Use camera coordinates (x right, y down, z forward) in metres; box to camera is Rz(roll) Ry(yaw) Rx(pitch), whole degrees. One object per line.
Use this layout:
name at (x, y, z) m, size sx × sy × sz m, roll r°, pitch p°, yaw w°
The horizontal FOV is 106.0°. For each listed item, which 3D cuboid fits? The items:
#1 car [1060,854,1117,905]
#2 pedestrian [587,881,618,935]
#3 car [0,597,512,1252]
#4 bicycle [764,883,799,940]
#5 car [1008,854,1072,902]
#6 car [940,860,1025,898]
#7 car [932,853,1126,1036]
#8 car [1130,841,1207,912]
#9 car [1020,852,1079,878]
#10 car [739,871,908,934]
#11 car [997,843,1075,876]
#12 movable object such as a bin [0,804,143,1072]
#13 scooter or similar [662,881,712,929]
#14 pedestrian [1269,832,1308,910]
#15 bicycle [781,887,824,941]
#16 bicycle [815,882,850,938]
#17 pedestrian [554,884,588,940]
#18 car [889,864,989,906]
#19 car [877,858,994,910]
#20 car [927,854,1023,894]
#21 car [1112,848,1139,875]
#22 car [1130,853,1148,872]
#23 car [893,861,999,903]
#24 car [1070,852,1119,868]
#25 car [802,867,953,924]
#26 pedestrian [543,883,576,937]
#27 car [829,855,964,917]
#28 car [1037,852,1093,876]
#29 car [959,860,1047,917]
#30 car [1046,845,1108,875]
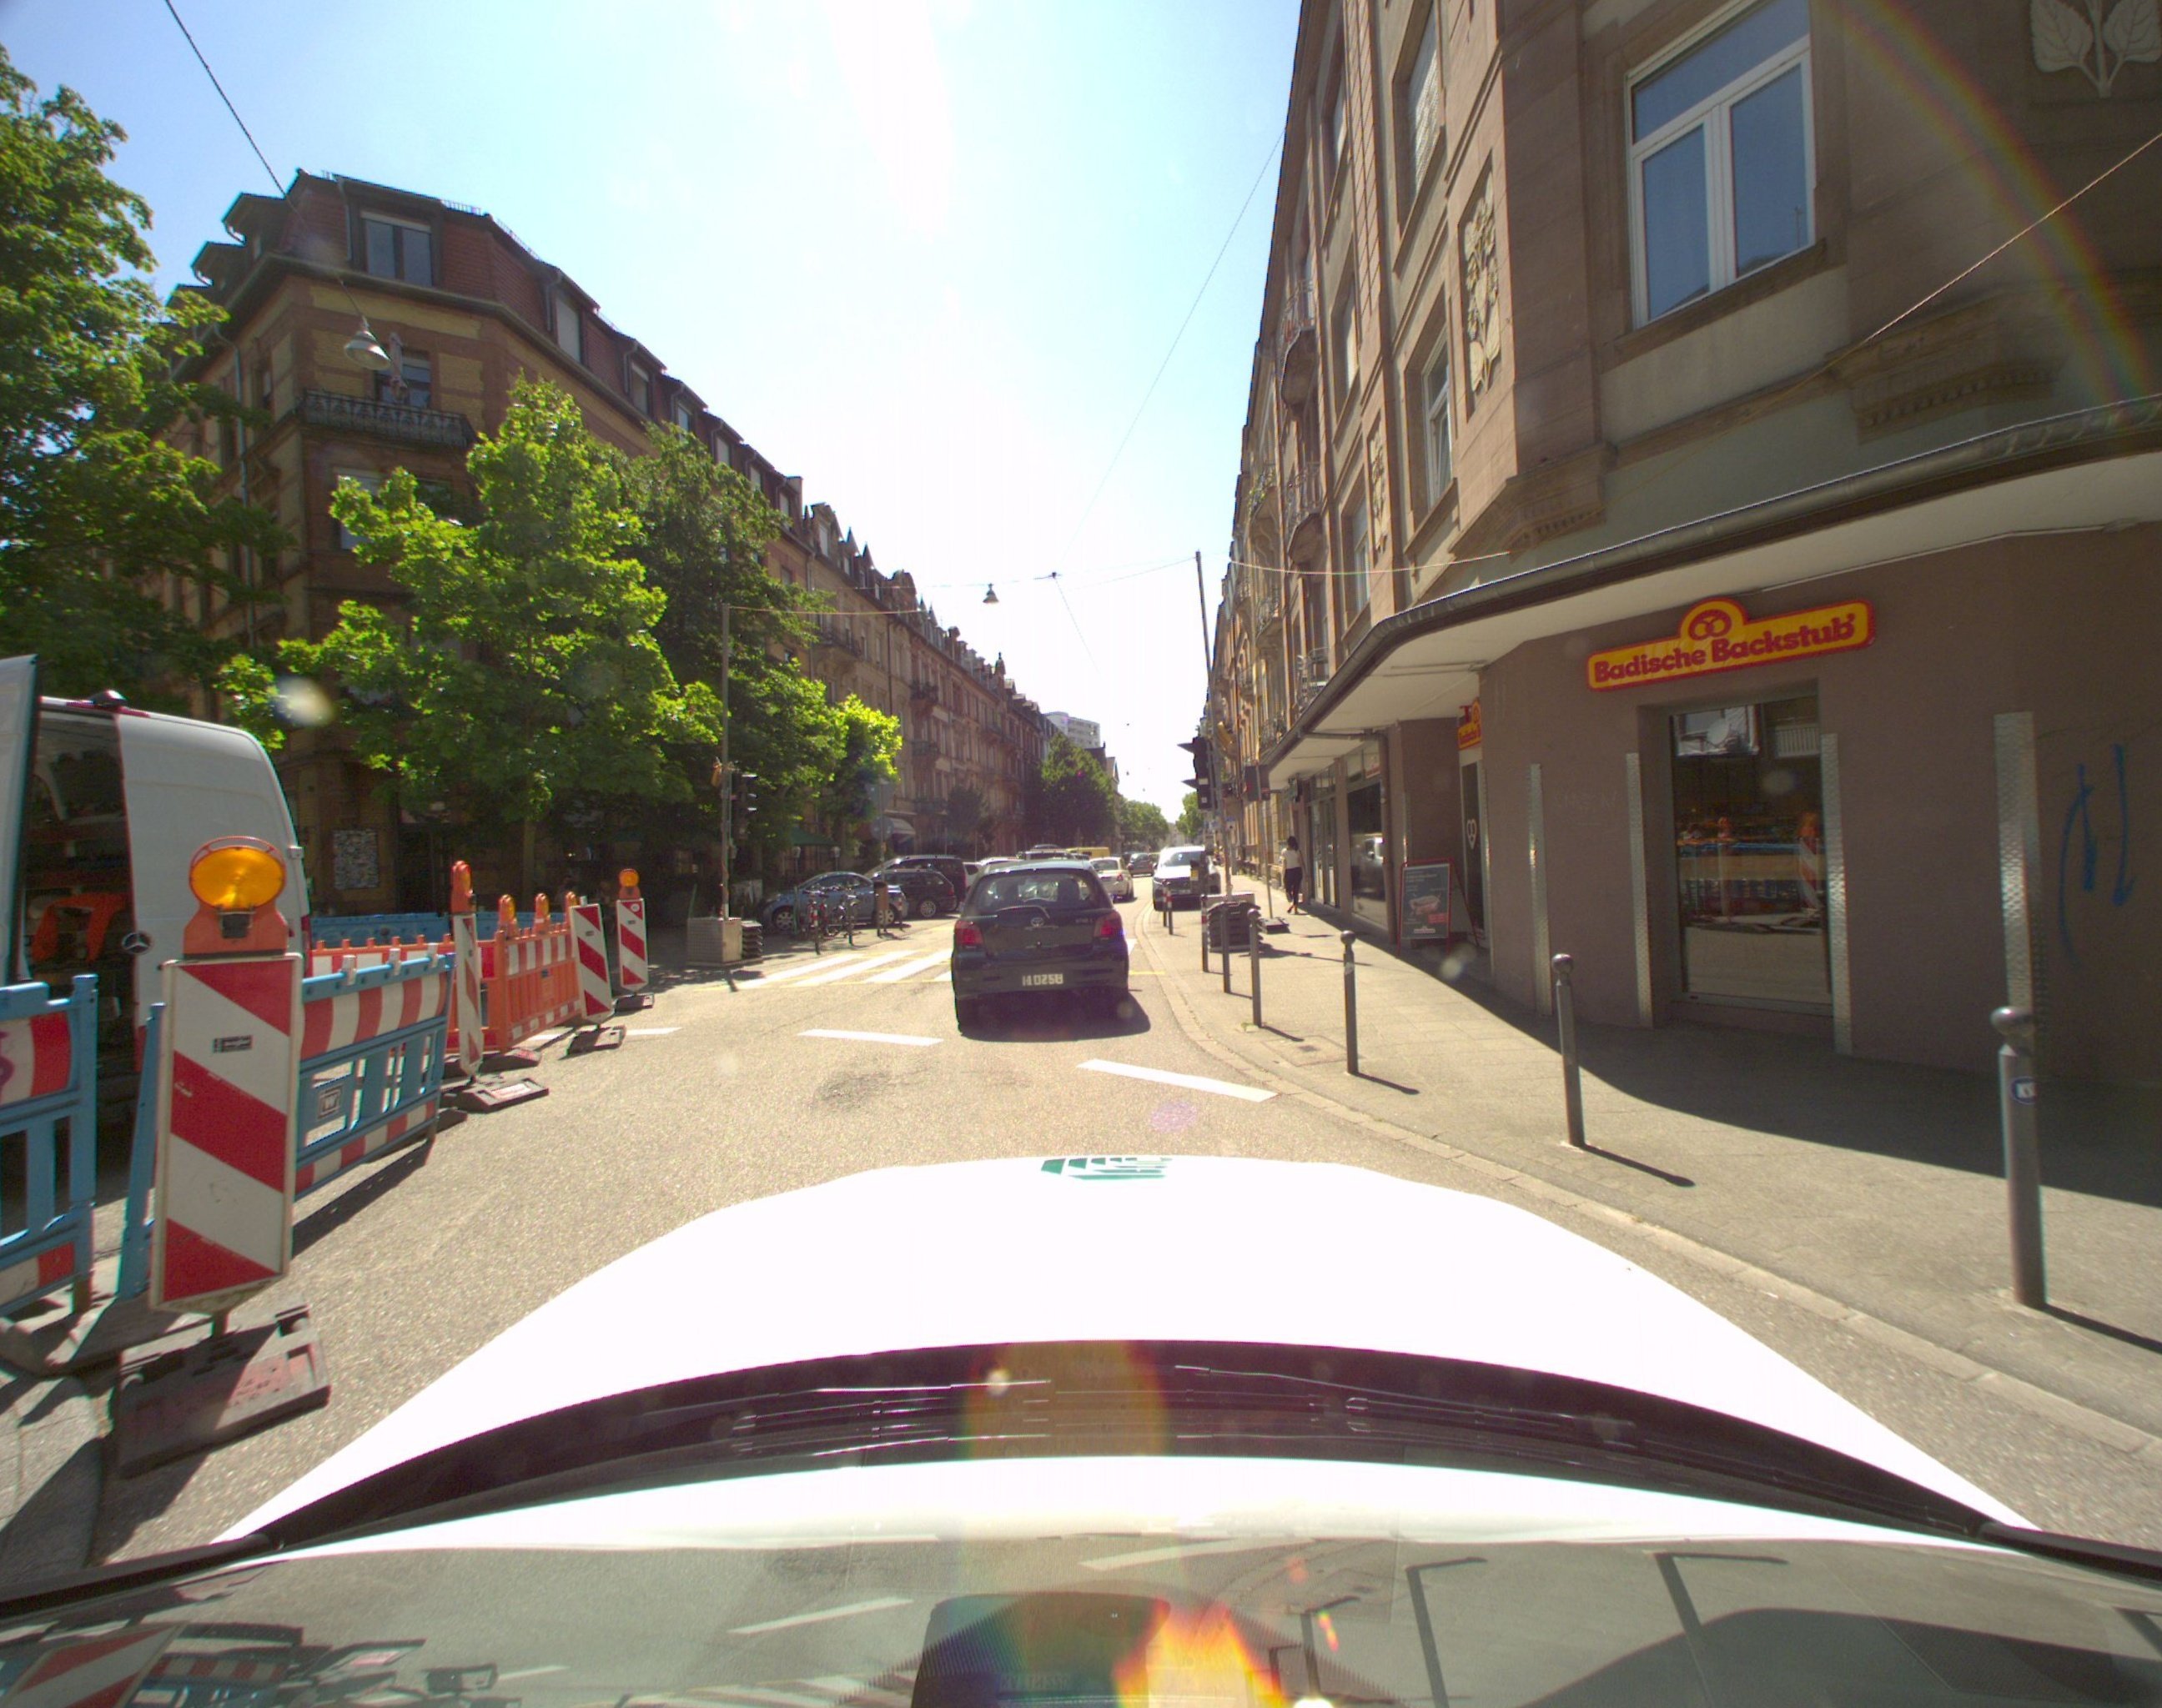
car at (0.301, 0.801, 27.488) m, size 1.515 × 1.521 × 3.269 m, roll -3°, pitch 0°, yaw 6°
pedestrian at (-11.453, 1.281, 19.517) m, size 0.559 × 1.220 × 0.593 m, roll -3°, pitch 0°, yaw -28°
car at (-7.543, 0.469, 5.094) m, size 6.582 × 2.751 × 2.386 m, roll -3°, pitch 0°, yaw 9°
bicycle at (-6.733, 1.277, 18.373) m, size 0.337 × 1.156 × 1.617 m, roll -1°, pitch 0°, yaw -6°
car at (-1.607, 0.929, 33.459) m, size 1.745 × 1.645 × 4.386 m, roll -6°, pitch 0°, yaw 7°
car at (-4.948, 1.220, 40.704) m, size 3.920 × 1.619 × 1.855 m, roll -3°, pitch 0°, yaw -17°
car at (-0.591, 0.774, 8.721) m, size 1.611 × 1.485 × 3.235 m, roll -3°, pitch 0°, yaw -5°
car at (2.534, 0.572, 23.240) m, size 1.861 × 1.713 × 4.513 m, roll -4°, pitch 0°, yaw 7°
car at (-2.313, 0.799, 59.753) m, size 3.920 × 1.708 × 1.855 m, roll -3°, pitch 0°, yaw -17°
car at (-6.718, 1.207, 21.248) m, size 4.004 × 1.375 × 1.985 m, roll -1°, pitch 0°, yaw -23°
car at (-3.040, 0.376, 54.870) m, size 4.793 × 1.994 × 2.038 m, roll -3°, pitch 0°, yaw -22°
movable object such as a bin at (-12.994, 0.873, 8.303) m, size 4.528 × 2.659 × 1.955 m, roll -1°, pitch 0°, yaw 0°
scooter or similar at (-10.184, 1.304, 21.093) m, size 0.276 × 1.120 × 1.476 m, roll 0°, pitch 1°, yaw 15°
pedestrian at (4.472, 0.360, 17.559) m, size 0.638 × 1.623 × 0.805 m, roll -3°, pitch 0°, yaw 7°
bicycle at (-6.300, 1.330, 18.493) m, size 0.490 × 1.081 × 1.895 m, roll -1°, pitch 0°, yaw -6°
bicycle at (-5.769, 1.278, 18.969) m, size 0.490 × 1.173 × 1.680 m, roll -1°, pitch 0°, yaw -7°
pedestrian at (-11.597, 1.305, 18.521) m, size 0.559 × 1.220 × 0.593 m, roll -3°, pitch 0°, yaw -28°
car at (-5.479, 1.165, 31.311) m, size 3.628 × 1.458 × 1.615 m, roll -1°, pitch 0°, yaw -17°
car at (-5.259, 1.037, 29.325) m, size 3.996 × 1.658 × 1.750 m, roll -1°, pitch 0°, yaw -17°
car at (-4.884, 0.899, 37.638) m, size 3.939 × 1.619 × 1.846 m, roll -3°, pitch 0°, yaw -34°
car at (2.919, 0.477, 53.027) m, size 1.514 × 1.592 × 3.270 m, roll -3°, pitch 0°, yaw 7°
car at (5.239, 0.766, 73.507) m, size 1.515 × 1.592 × 3.269 m, roll -3°, pitch 0°, yaw 5°
car at (-5.625, 1.133, 34.026) m, size 3.939 × 1.470 × 1.846 m, roll -3°, pitch 0°, yaw -35°
car at (1.403, 0.574, 83.768) m, size 4.574 × 1.434 × 1.986 m, roll -3°, pitch 0°, yaw -21°
car at (-5.982, 1.156, 23.952) m, size 4.007 × 1.412 × 1.955 m, roll -1°, pitch 0°, yaw -26°
pedestrian at (-12.380, 1.321, 19.359) m, size 0.559 × 1.220 × 0.593 m, roll -3°, pitch 0°, yaw -28°
car at (-5.960, 0.973, 26.312) m, size 4.004 × 1.804 × 1.755 m, roll -1°, pitch 0°, yaw -23°
car at (-1.251, 0.737, 62.438) m, size 3.871 × 1.640 × 1.775 m, roll -3°, pitch 0°, yaw -17°
car at (-2.255, 0.995, 24.735) m, size 1.745 × 1.444 × 4.008 m, roll -3°, pitch 0°, yaw 7°
car at (-0.322, 0.454, 66.343) m, size 4.574 × 2.187 × 1.986 m, roll -3°, pitch 0°, yaw -21°
